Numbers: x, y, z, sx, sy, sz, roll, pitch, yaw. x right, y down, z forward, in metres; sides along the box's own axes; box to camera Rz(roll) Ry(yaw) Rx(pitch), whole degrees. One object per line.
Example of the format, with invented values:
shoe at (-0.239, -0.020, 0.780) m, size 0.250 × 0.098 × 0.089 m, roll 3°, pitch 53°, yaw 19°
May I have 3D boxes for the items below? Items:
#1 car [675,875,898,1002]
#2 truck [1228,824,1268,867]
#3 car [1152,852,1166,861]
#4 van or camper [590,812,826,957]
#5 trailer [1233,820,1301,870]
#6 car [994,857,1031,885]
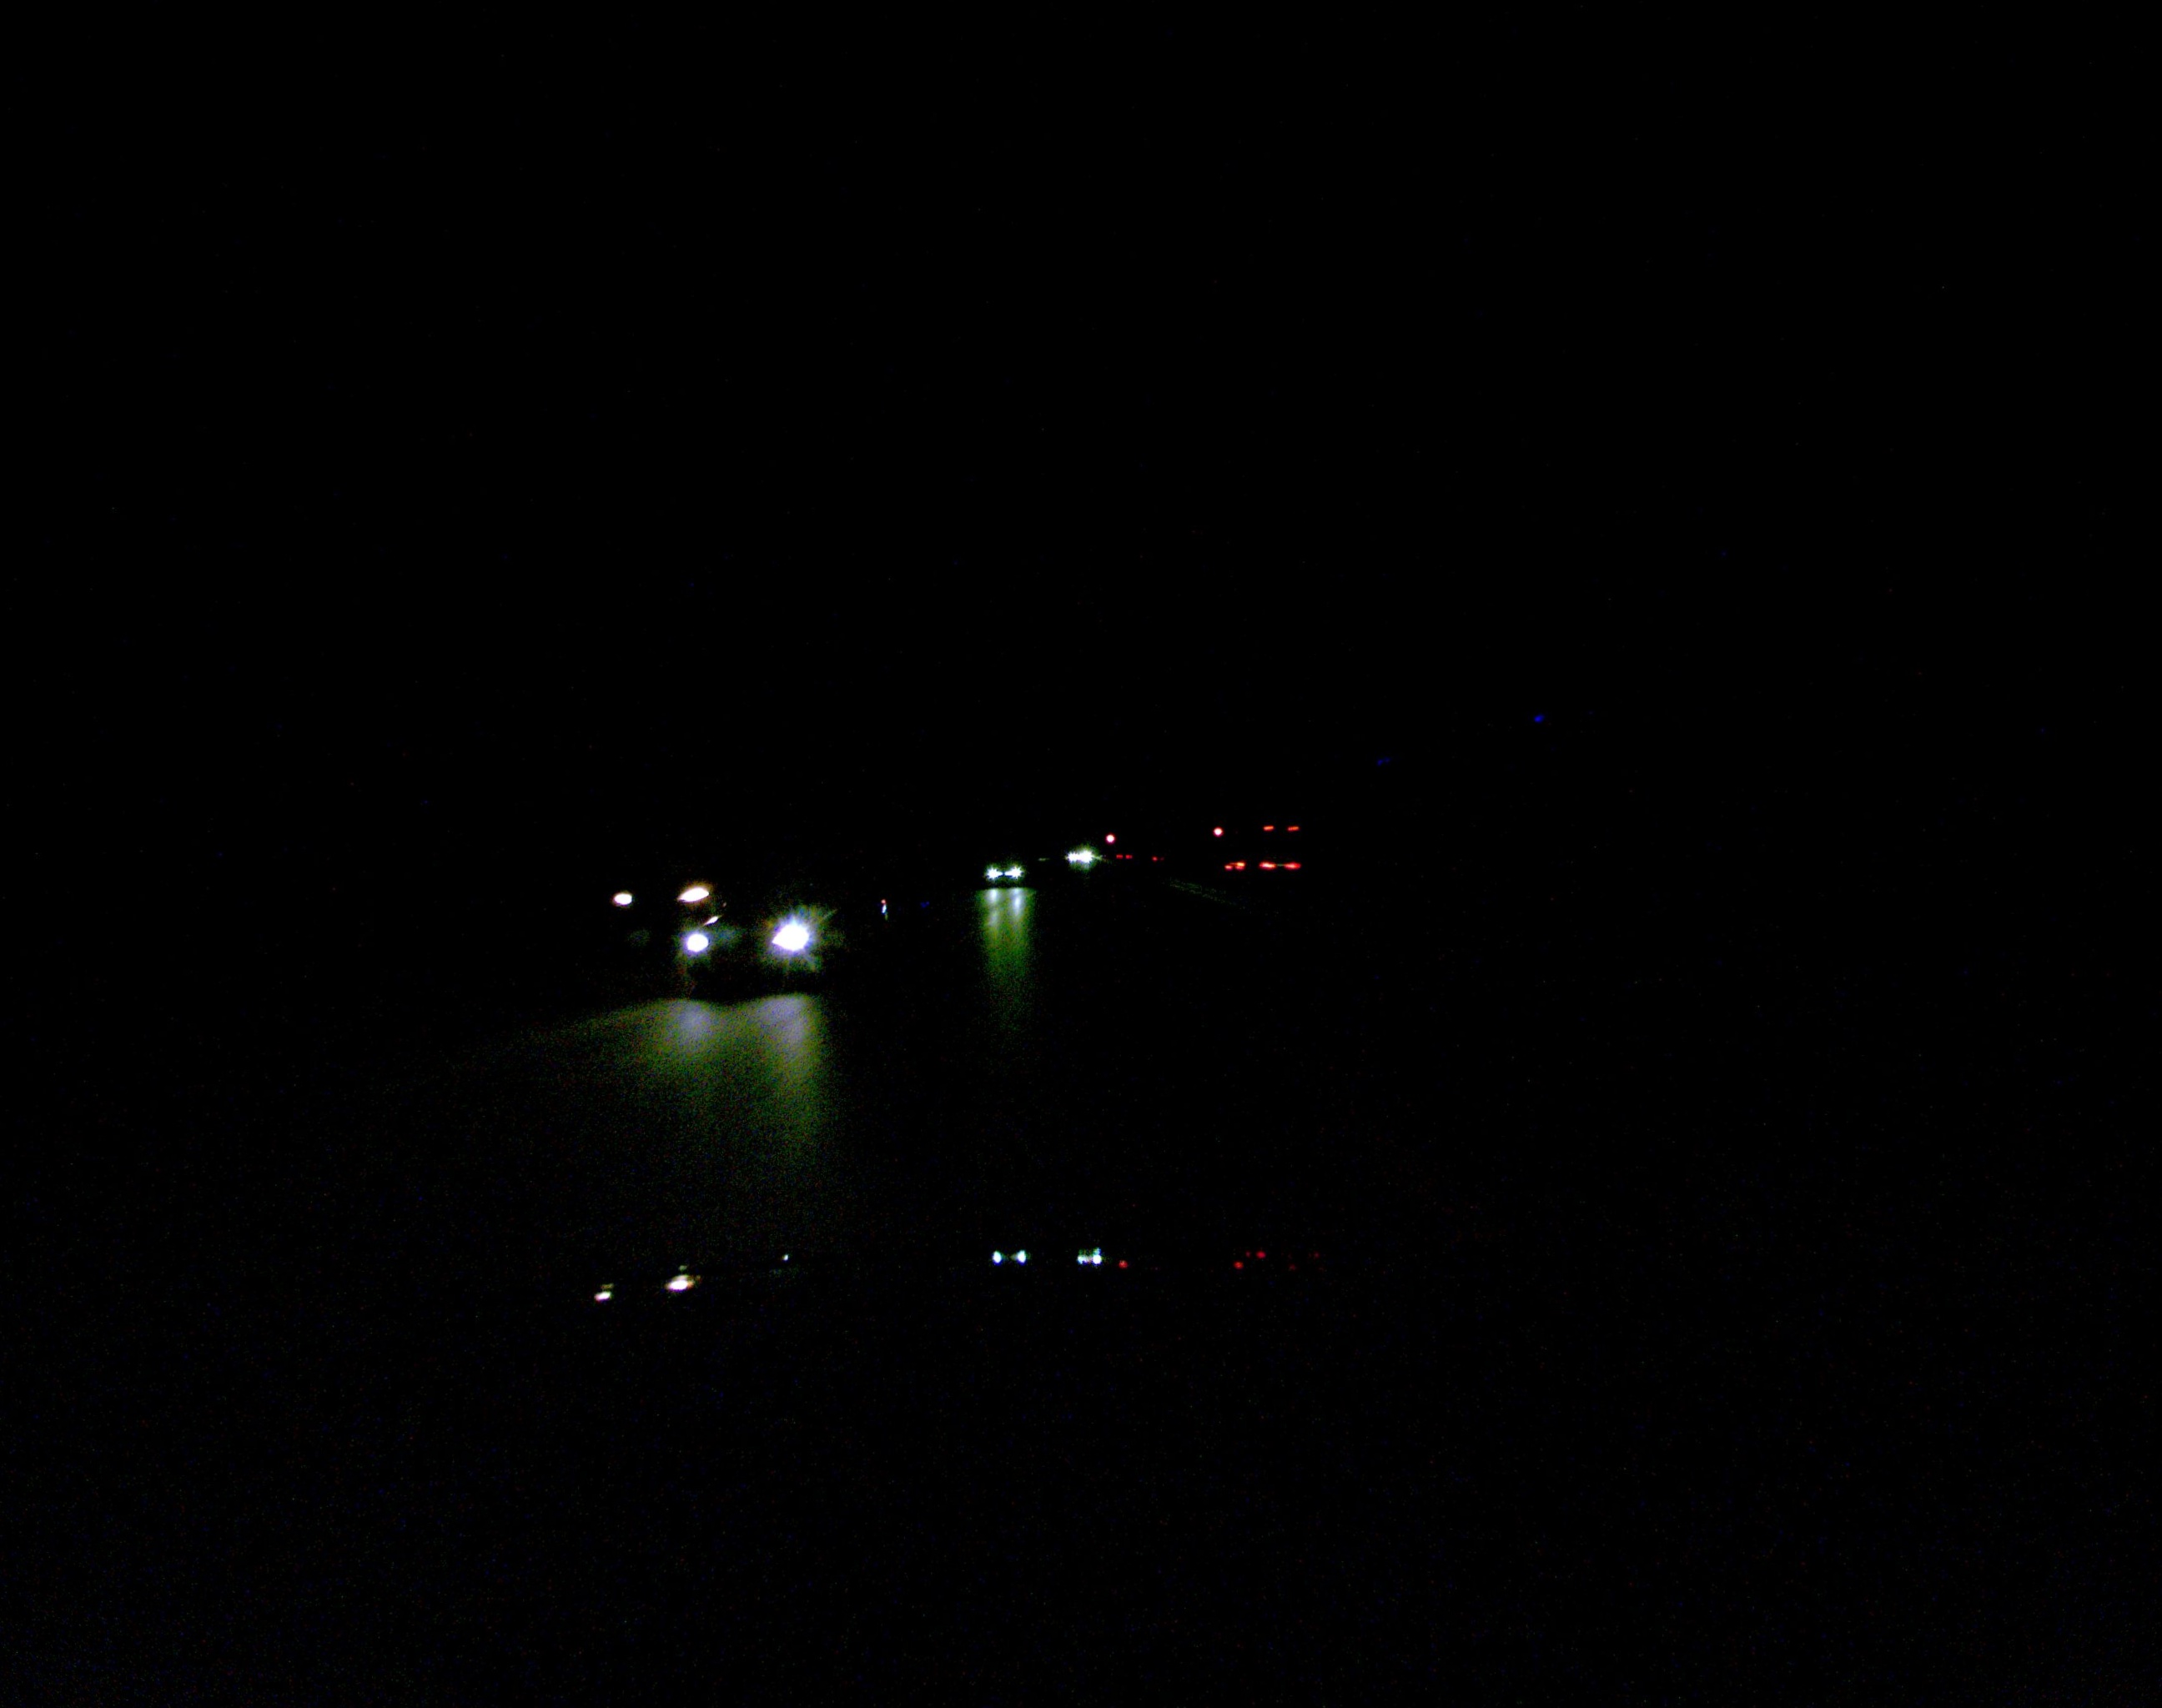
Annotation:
car at (-4.191, 1.112, 11.616) m, size 1.690 × 1.405 × 4.225 m, roll -1°, pitch 1°, yaw 1°
truck at (16.995, -0.875, 77.693) m, size 2.761 × 4.188 × 5.825 m, roll 0°, pitch 1°, yaw 0°
car at (13.861, 0.423, 135.154) m, size 1.999 × 1.453 × 4.691 m, roll 1°, pitch 0°, yaw -2°
van or camper at (-8.434, 0.598, 18.259) m, size 2.212 × 2.755 × 6.804 m, roll -2°, pitch 0°, yaw 0°
trailer at (17.051, -0.822, 70.892) m, size 2.867 × 4.152 × 13.903 m, roll 1°, pitch 1°, yaw 0°
car at (-4.110, 0.984, 46.064) m, size 1.795 × 1.532 × 4.225 m, roll -1°, pitch 0°, yaw 1°
